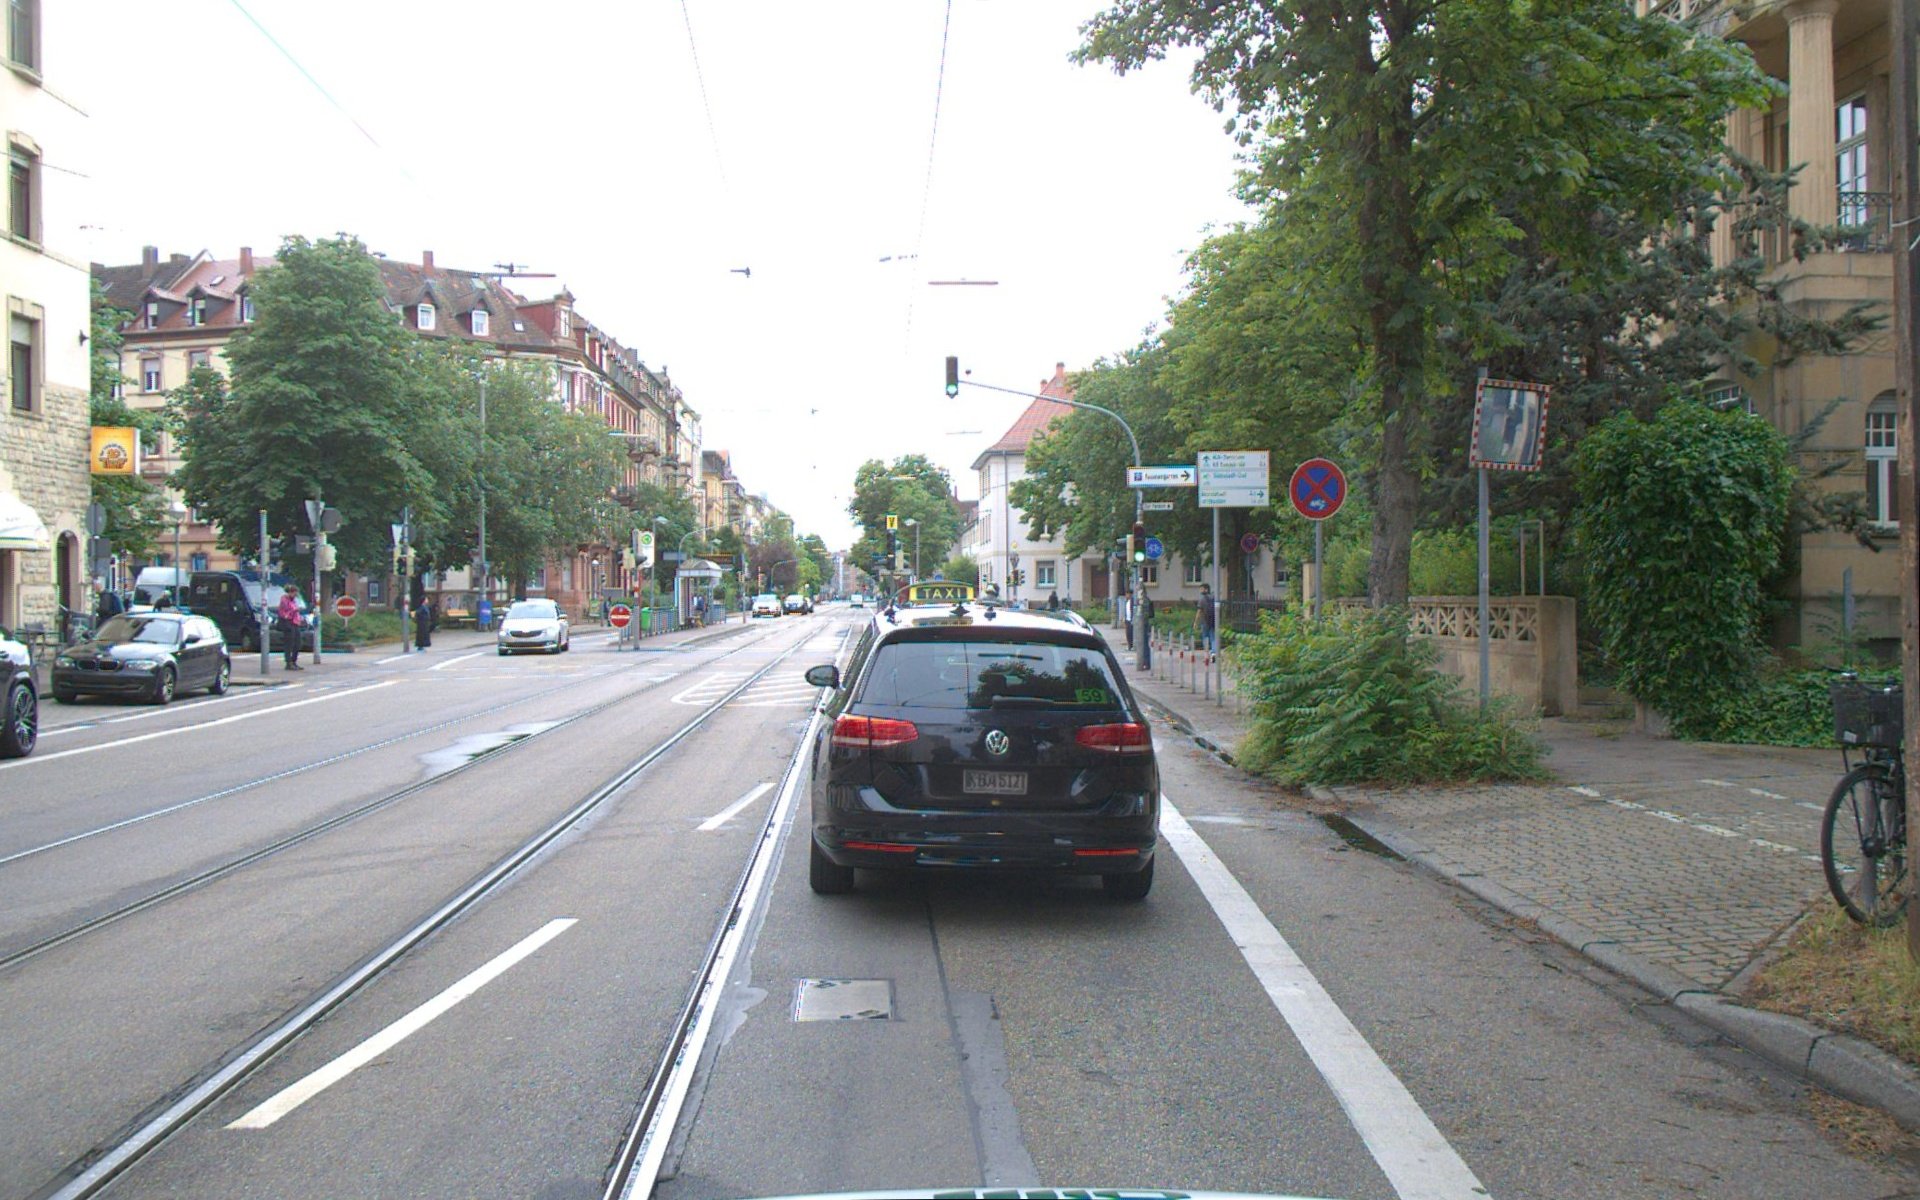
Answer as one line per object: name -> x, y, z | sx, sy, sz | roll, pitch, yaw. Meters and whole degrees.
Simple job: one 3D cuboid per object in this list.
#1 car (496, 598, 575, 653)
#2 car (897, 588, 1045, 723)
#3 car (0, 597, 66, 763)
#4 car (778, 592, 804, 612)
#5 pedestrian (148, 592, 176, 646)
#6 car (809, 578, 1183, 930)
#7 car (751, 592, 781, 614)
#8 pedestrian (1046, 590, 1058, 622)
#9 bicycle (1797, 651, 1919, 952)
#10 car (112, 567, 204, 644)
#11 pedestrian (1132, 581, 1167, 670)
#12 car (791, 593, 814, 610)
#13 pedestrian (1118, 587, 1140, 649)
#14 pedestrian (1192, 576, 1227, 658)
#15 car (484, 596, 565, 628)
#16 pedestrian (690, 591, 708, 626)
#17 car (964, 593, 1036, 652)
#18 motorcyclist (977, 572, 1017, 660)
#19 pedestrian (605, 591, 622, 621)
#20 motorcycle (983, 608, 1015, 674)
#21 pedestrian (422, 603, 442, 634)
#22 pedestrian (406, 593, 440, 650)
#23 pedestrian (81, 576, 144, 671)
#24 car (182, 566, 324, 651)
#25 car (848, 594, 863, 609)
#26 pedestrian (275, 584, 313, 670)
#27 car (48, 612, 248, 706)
car -> -11.921, 0.682, 46.667 | 1.657, 1.435, 3.993 | -2, 0, -8
car -> 0.054, 0.645, 21.390 | 1.689, 1.573, 3.998 | 0, 0, -3
car -> -10.313, 0.835, 15.654 | 1.850, 1.639, 4.873 | -3, 0, -12
car -> -14.139, 0.184, 138.182 | 1.759, 1.624, 4.000 | -1, 0, 0
pedestrian -> -25.764, 0.602, 53.389 | 0.694, 1.745, 0.543 | 0, 0, -43
car -> 0.065, 0.683, 9.439 | 1.689, 1.573, 3.998 | 0, 0, -3
car -> -14.174, 0.219, 121.137 | 1.759, 1.624, 4.000 | 0, 0, 0
pedestrian -> 4.596, 0.305, 82.731 | 0.569, 1.581, 0.609 | 0, 0, -1
bicycle -> 4.379, 0.853, 7.665 | 0.425, 1.219, 1.893 | -1, -1, 42
car -> -28.210, 0.188, 58.087 | 2.160, 2.571, 5.314 | 0, 0, -35
pedestrian -> 4.087, 0.551, 35.684 | 0.573, 1.862, 0.604 | -3, 0, -2
car -> -14.779, 0.127, 155.517 | 1.759, 1.624, 4.000 | -1, 0, 0
pedestrian -> 5.192, 0.547, 50.828 | 0.504, 1.862, 0.418 | -3, 0, -2
pedestrian -> 5.690, 0.393, 37.755 | 0.620, 1.846, 0.725 | 0, 0, -6
car -> -23.046, 0.635, 87.658 | 3.834, 1.651, 1.698 | -1, 0, -45
pedestrian -> -11.585, 0.371, 73.513 | 0.700, 1.547, 0.589 | 0, 0, -2
car -> 1.077, 0.587, 45.853 | 1.689, 1.573, 3.998 | 0, 0, -3
motorcyclist -> 0.733, 0.317, 32.761 | 0.688, 1.722, 0.805 | -1, 0, 8
pedestrian -> -18.348, 0.312, 87.599 | 0.577, 1.547, 0.647 | 0, 0, 32
motorcycle -> 0.779, 0.789, 32.705 | 0.437, 1.257, 1.908 | -1, 0, 7
pedestrian -> -21.009, 0.735, 65.806 | 0.582, 1.189, 0.836 | 0, 0, -32
pedestrian -> -16.093, 0.640, 49.572 | 0.819, 1.692, 0.591 | 0, 0, -2
pedestrian -> -18.671, 0.516, 36.465 | 0.954, 2.049, 0.835 | -1, 0, -3
car -> -21.485, 0.244, 50.135 | 5.290, 2.460, 2.170 | 0, 0, 45
car -> -14.435, 0.188, 229.527 | 1.992, 2.049, 3.997 | 1, -1, -3
pedestrian -> -14.729, 0.593, 36.574 | 0.611, 1.875, 0.609 | 0, 0, -6
car -> -13.596, 0.942, 27.962 | 1.617, 1.385, 4.125 | 2, 0, -5
